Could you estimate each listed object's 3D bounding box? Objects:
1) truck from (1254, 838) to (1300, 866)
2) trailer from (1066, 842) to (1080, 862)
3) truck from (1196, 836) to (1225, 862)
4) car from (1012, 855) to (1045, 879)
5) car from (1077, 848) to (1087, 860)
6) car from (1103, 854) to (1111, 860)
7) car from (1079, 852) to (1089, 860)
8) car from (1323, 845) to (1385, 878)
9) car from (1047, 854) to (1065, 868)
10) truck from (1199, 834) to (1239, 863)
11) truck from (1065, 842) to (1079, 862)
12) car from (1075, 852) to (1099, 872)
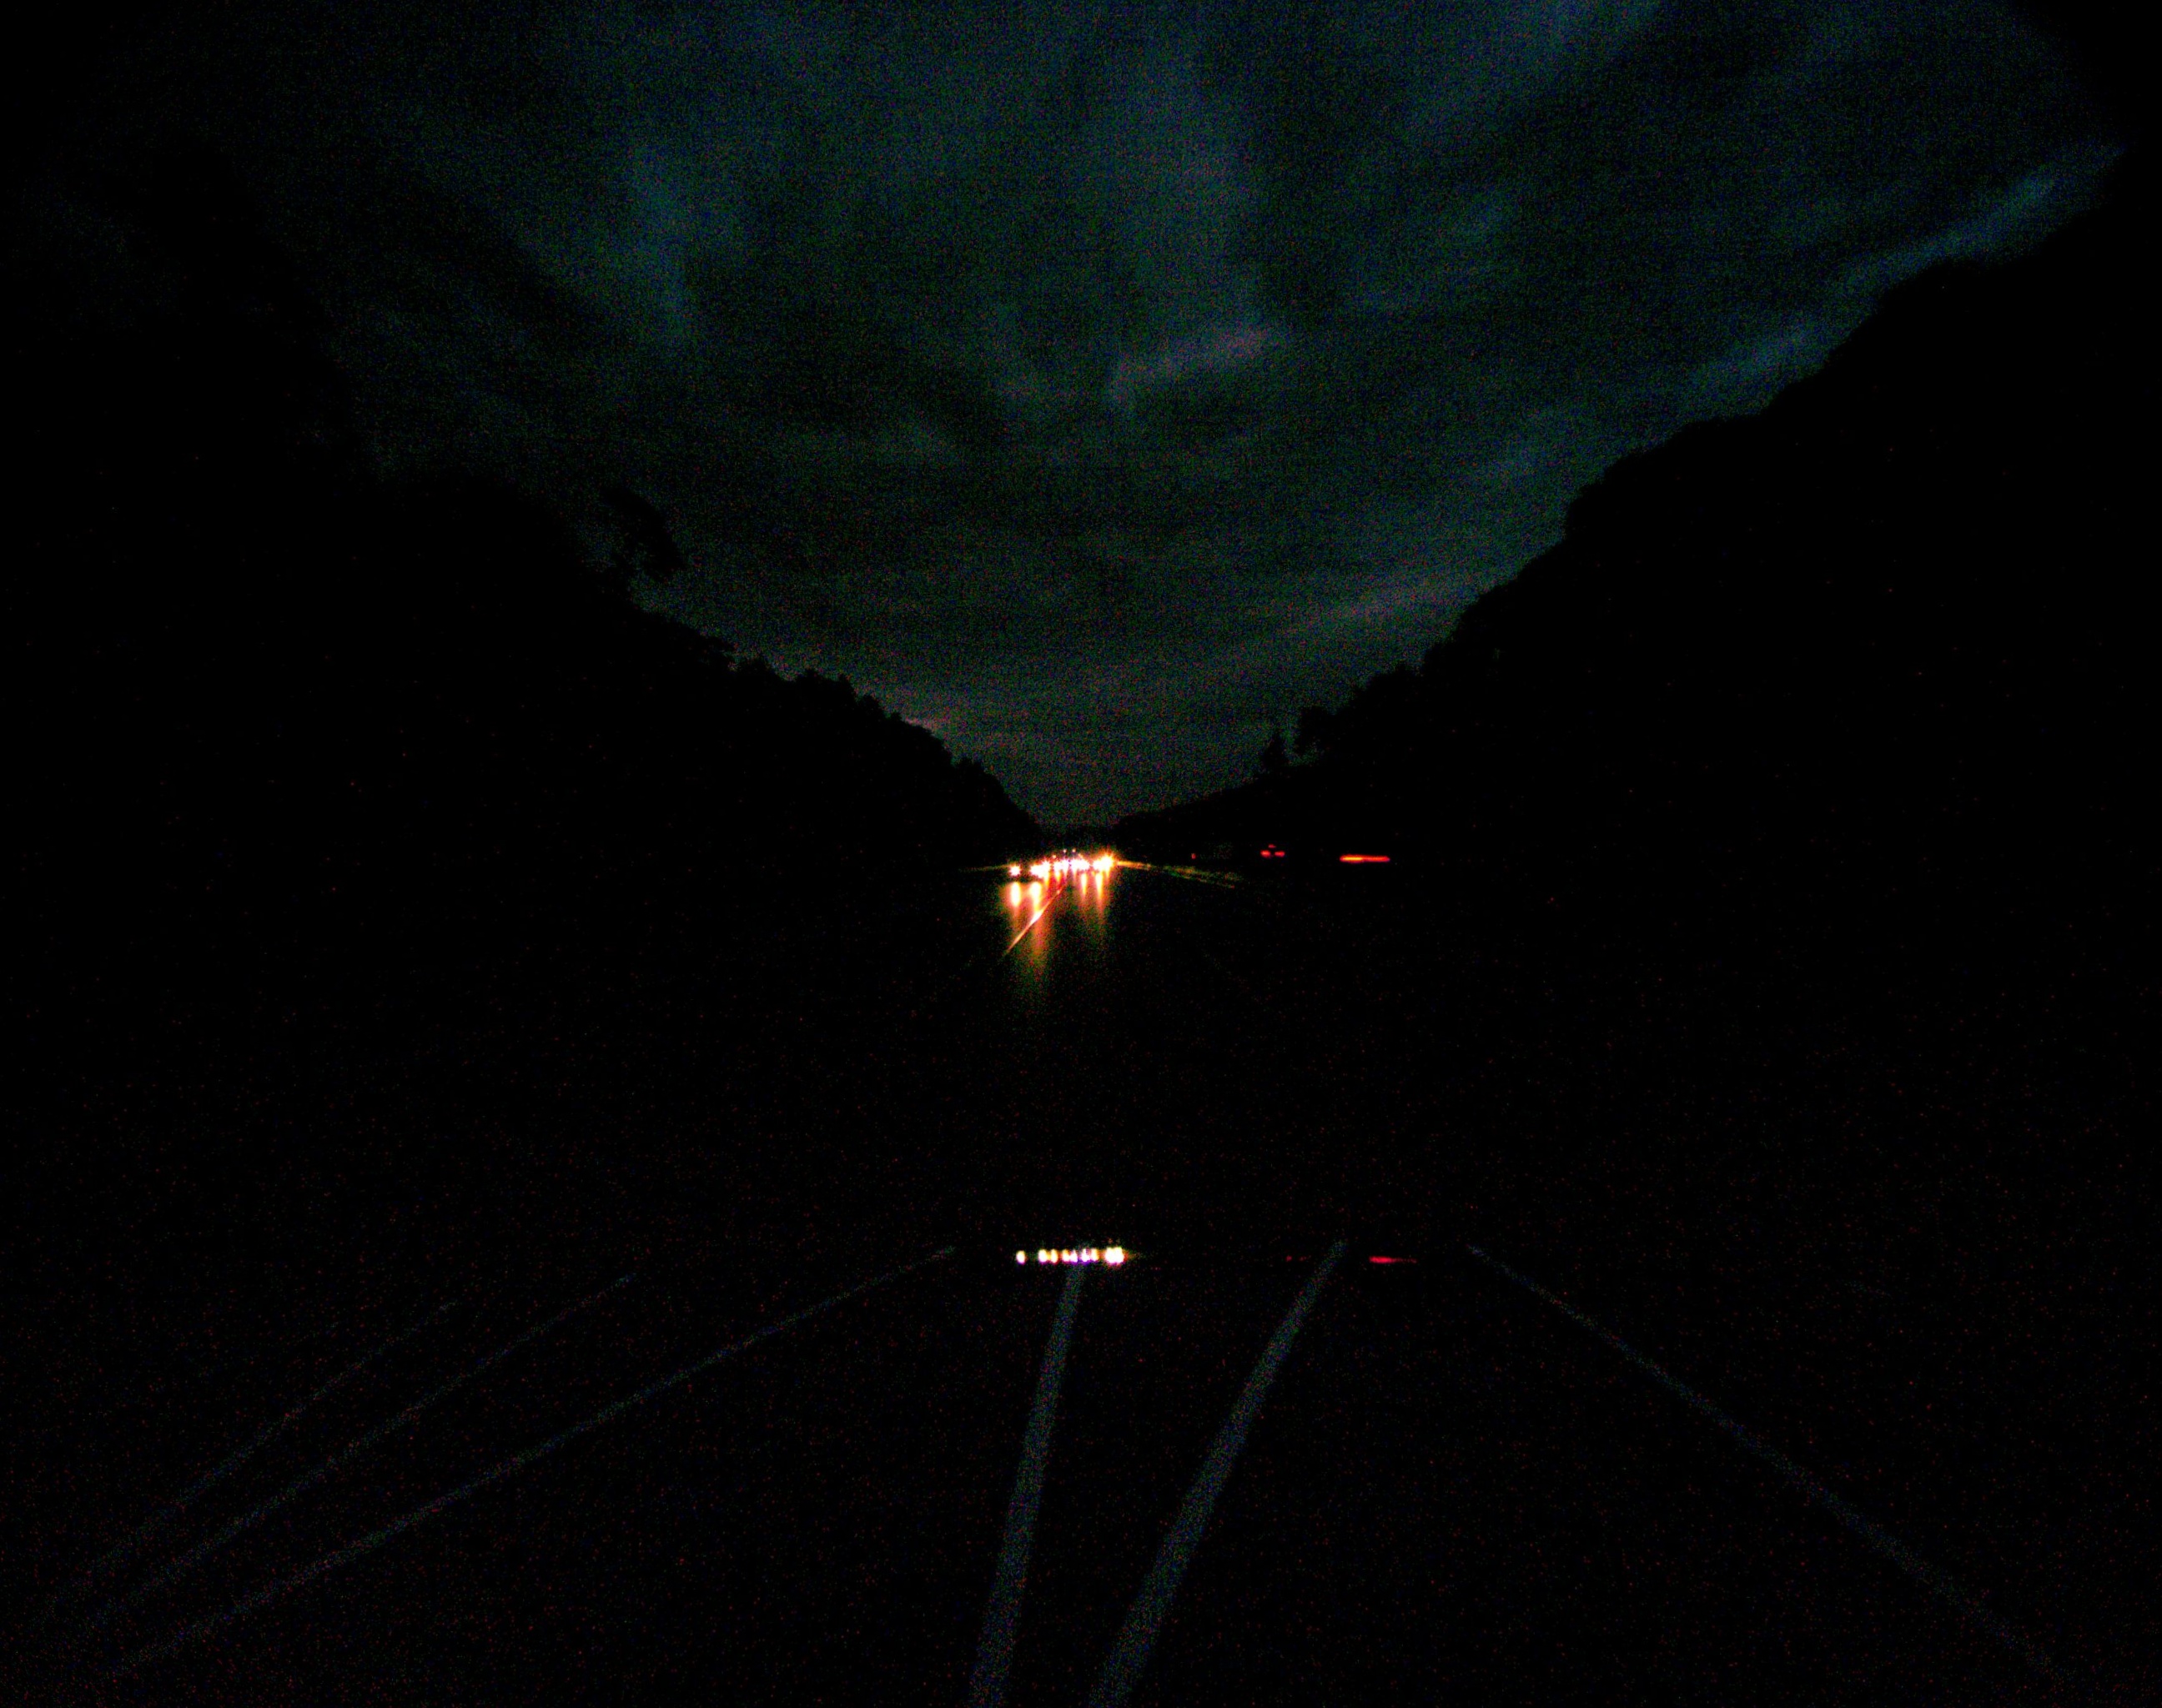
[{"bbox_3d":[19.473,-0.185,76.083,2.467,2.495,9.755,-2,0,2],"label":"truck"},{"bbox_3d":[-1.704,-0.600,165.846,2.489,4.050,13.502,-2,1,1],"label":"trailer"},{"bbox_3d":[20.388,-0.806,119.866,3.389,3.980,6.879,-1,0,0],"label":"truck"},{"bbox_3d":[-3.467,0.847,51.186,1.870,1.427,4.583,-3,0,0],"label":"car"},{"bbox_3d":[0.317,-0.084,249.327,2.998,3.659,10.000,-1,0,1],"label":"car"},{"bbox_3d":[5.950,0.682,175.433,1.695,1.481,4.949,-1,0,1],"label":"car"},{"bbox_3d":[0.613,0.377,137.365,1.695,1.481,4.949,-1,0,1],"label":"car"},{"bbox_3d":[15.233,0.392,42.658,1.740,1.705,4.714,-1,0,0],"label":"car"},{"bbox_3d":[-2.882,0.762,88.585,1.695,1.481,4.949,-1,0,2],"label":"car"},{"bbox_3d":[20.369,-0.774,113.169,3.365,3.980,14.496,-1,0,0],"label":"truck"},{"bbox_3d":[-1.818,-0.483,158.387,2.497,3.945,5.590,-2,1,2],"label":"truck"},{"bbox_3d":[0.643,0.733,72.208,1.869,1.701,4.585,-3,0,5],"label":"car"}]
